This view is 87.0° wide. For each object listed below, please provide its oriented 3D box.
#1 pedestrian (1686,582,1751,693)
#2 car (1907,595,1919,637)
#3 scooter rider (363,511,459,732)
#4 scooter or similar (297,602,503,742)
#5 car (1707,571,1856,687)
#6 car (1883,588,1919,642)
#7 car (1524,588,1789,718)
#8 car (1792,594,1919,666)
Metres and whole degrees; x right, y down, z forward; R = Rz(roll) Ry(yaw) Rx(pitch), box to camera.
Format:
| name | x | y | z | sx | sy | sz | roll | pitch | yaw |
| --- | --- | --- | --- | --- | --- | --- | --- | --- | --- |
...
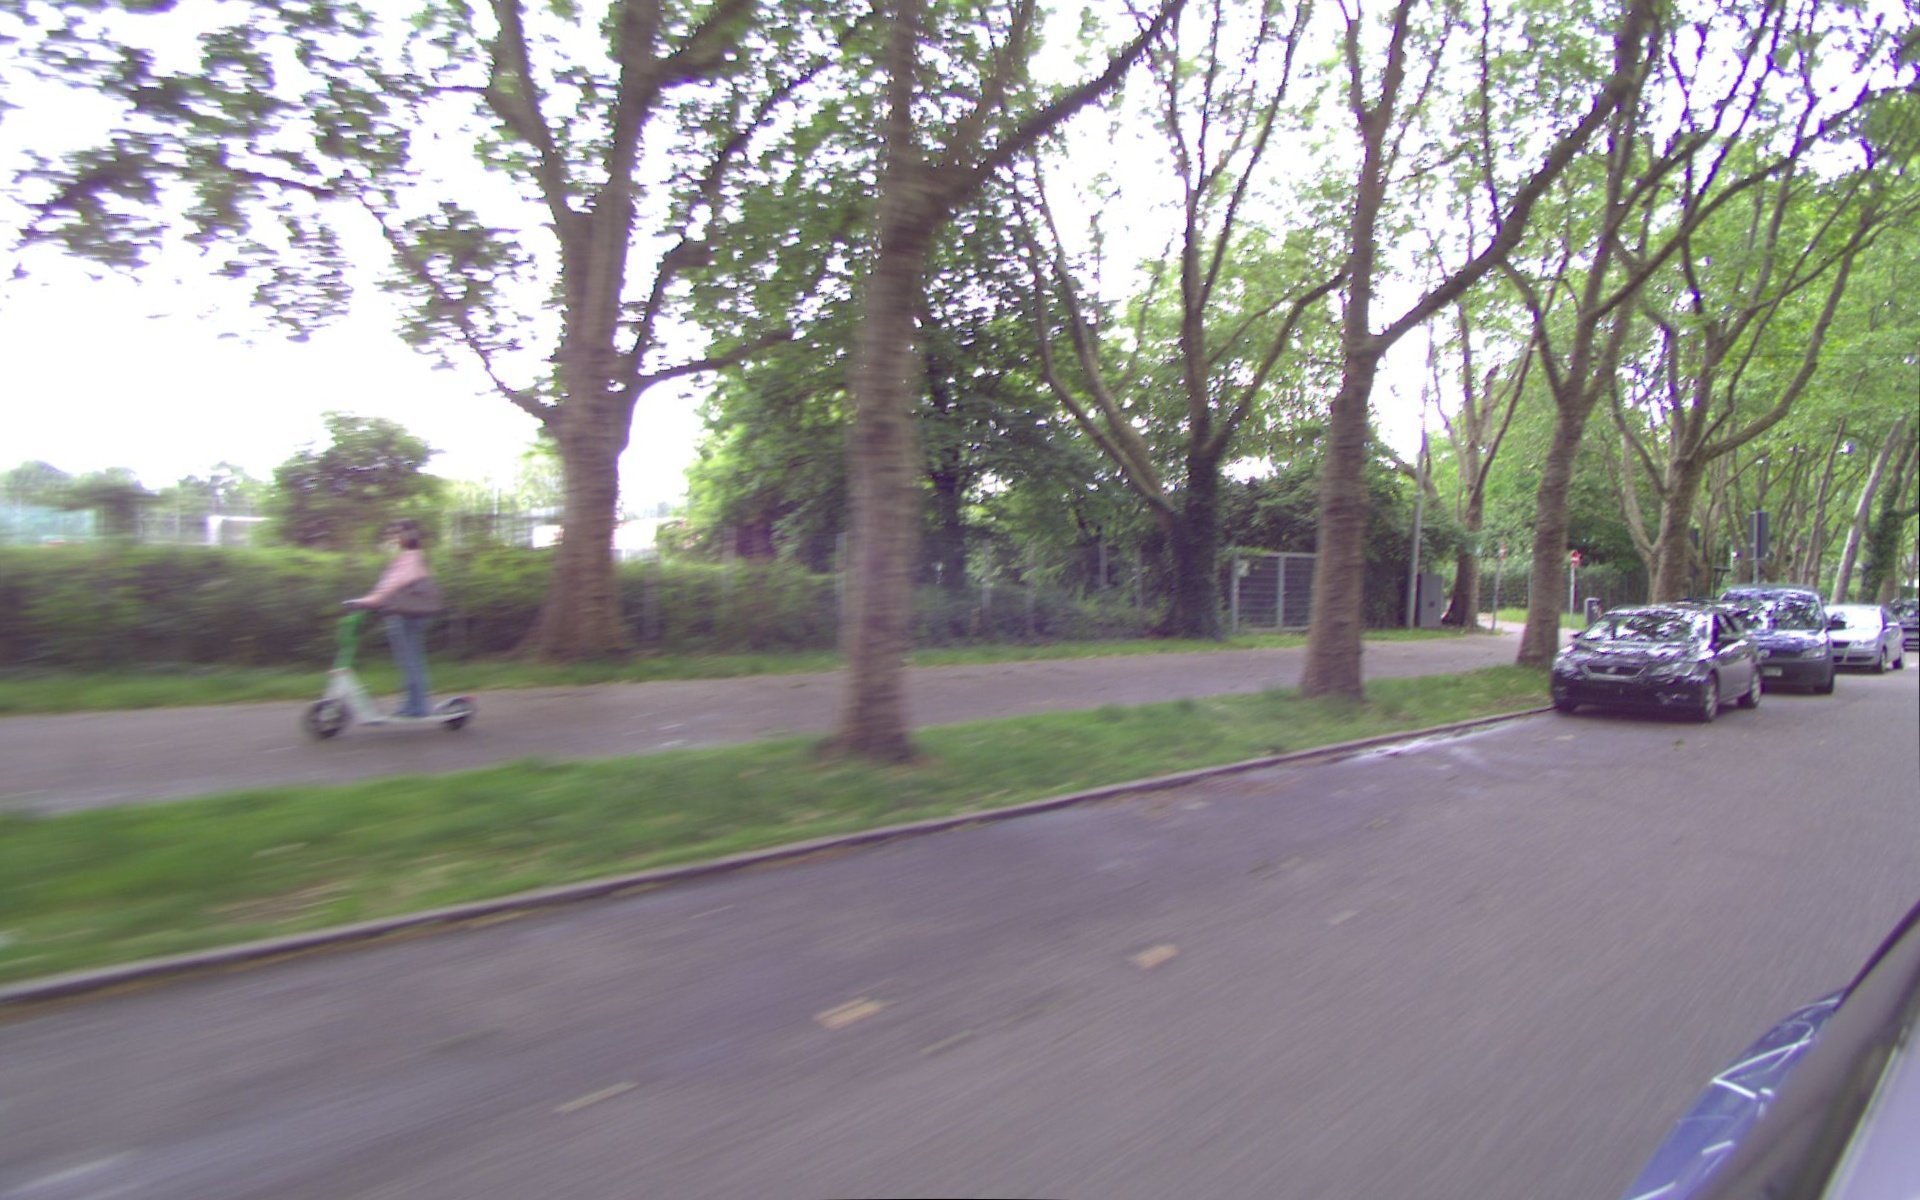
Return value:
| name | x | y | z | sx | sy | sz | roll | pitch | yaw |
| --- | --- | --- | --- | --- | --- | --- | --- | --- | --- |
| pedestrian | 11.651 | 0.553 | 15.550 | 0.729 | 1.647 | 0.634 | 0 | 1 | -41 |
| car | 34.633 | 0.549 | 35.385 | 4.211 | 1.436 | 1.779 | 0 | -1 | -41 |
| scooter rider | -4.756 | 0.154 | 8.755 | 0.577 | 1.821 | 0.678 | 0 | 3 | -40 |
| scooter or similar | -4.815 | 0.572 | 8.740 | 1.441 | 1.050 | 0.682 | 0 | 4 | -41 |
| car | 14.621 | 0.455 | 17.999 | 1.840 | 1.805 | 4.382 | -1 | -1 | 40 |
| car | 30.169 | 0.442 | 31.382 | 4.390 | 1.623 | 1.831 | 0 | -1 | -42 |
| car | 9.584 | 0.595 | 13.809 | 4.295 | 1.497 | 1.997 | 0 | 0 | -41 |
| car | 19.994 | 0.615 | 22.467 | 3.875 | 1.480 | 1.622 | 0 | -1 | -40 |
